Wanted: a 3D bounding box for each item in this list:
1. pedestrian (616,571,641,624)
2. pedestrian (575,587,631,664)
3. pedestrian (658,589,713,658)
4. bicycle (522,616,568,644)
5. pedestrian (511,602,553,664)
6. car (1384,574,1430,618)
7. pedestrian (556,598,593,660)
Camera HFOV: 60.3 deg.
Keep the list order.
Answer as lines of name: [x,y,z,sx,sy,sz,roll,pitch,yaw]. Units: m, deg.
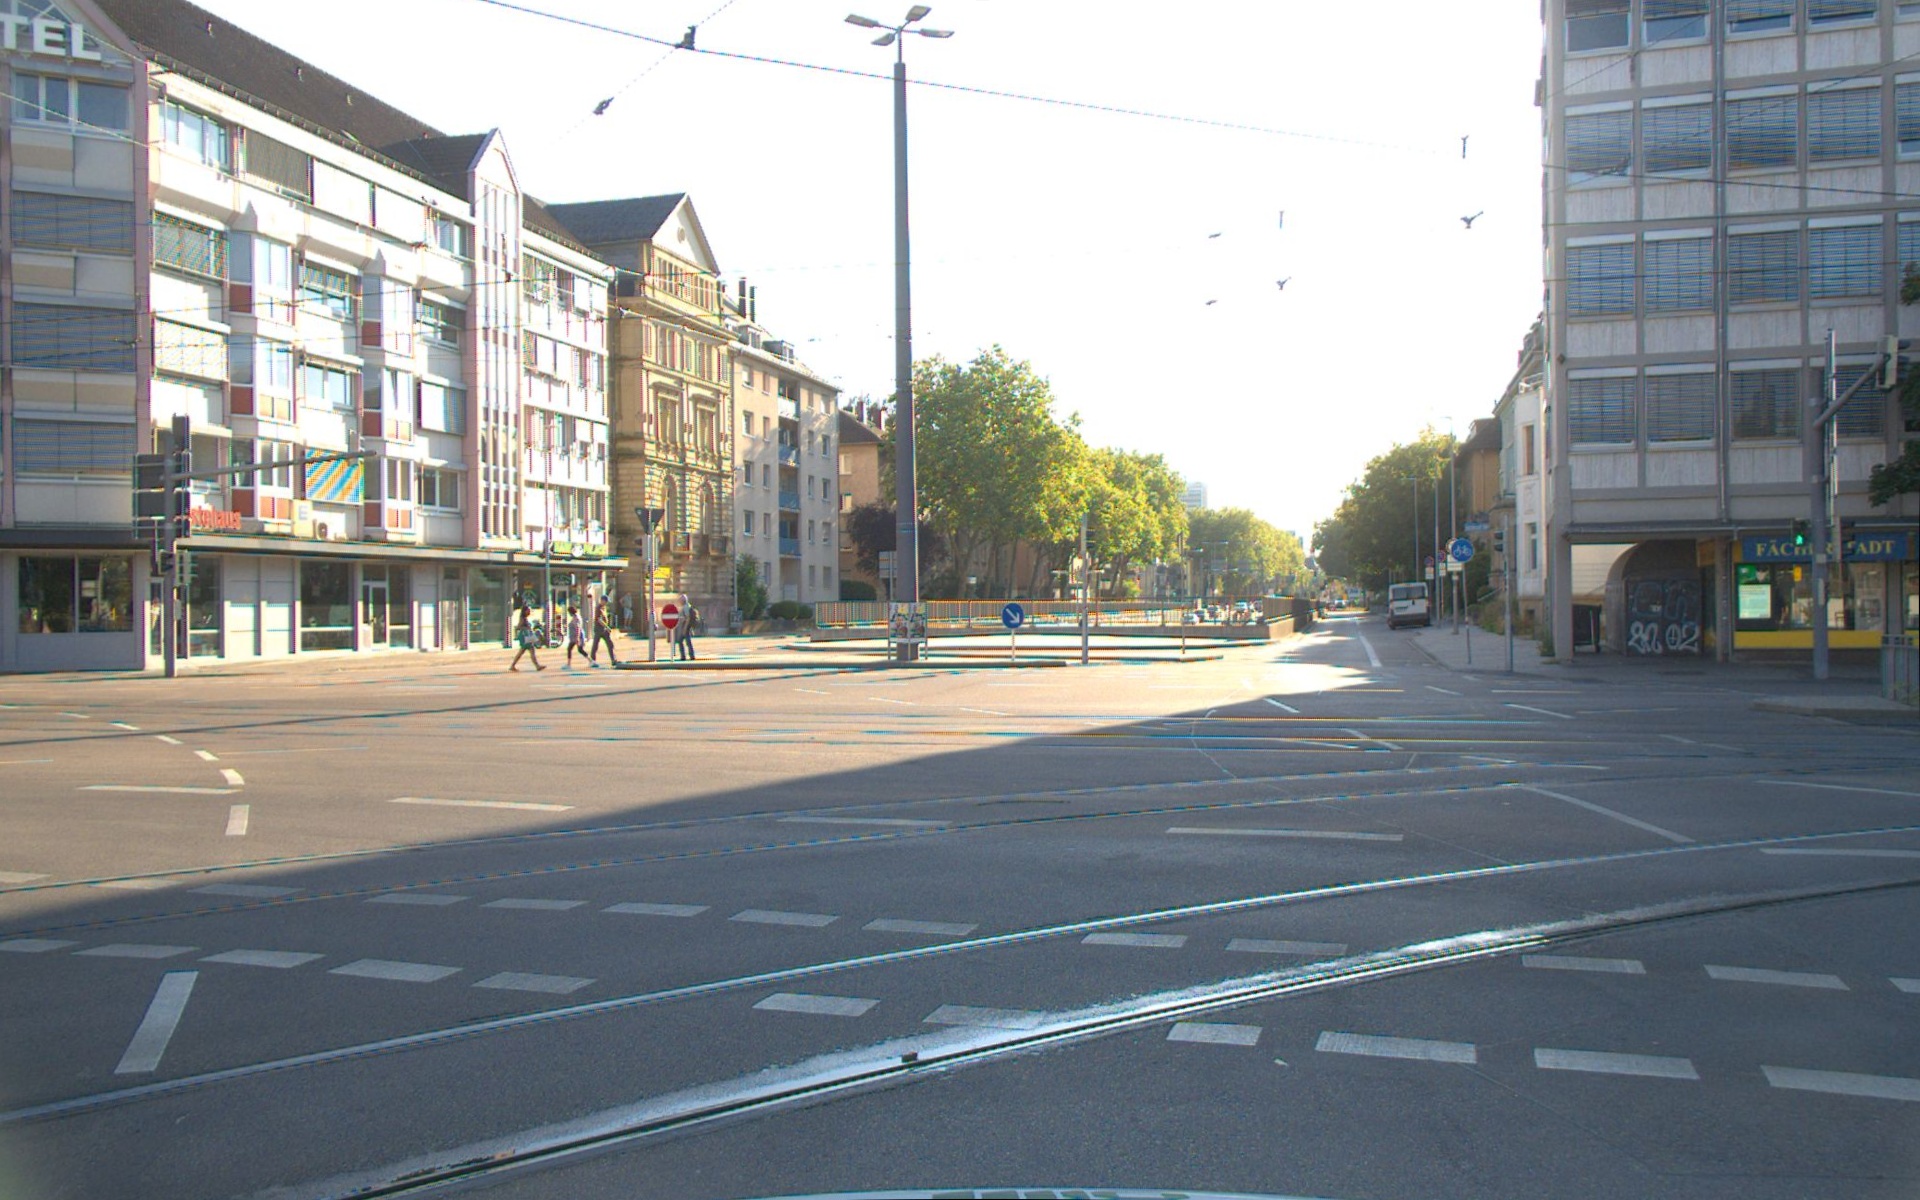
pedestrian: [-15.610,-0.123,77.886,0.907,2.440,0.961,1,0,2]
pedestrian: [-9.152,0.649,42.445,1.169,1.916,0.857,1,2,8]
pedestrian: [-7.179,0.616,43.307,1.169,1.761,0.857,1,0,8]
bicycle: [-16.456,1.172,65.643,0.442,1.089,2.088,1,0,29]
pedestrian: [-10.484,0.801,40.509,0.689,1.478,0.857,1,0,8]
car: [23.632,-0.203,87.520,2.237,2.210,4.837,1,0,15]
pedestrian: [-9.586,0.736,41.135,0.840,1.491,0.683,1,-5,-16]
